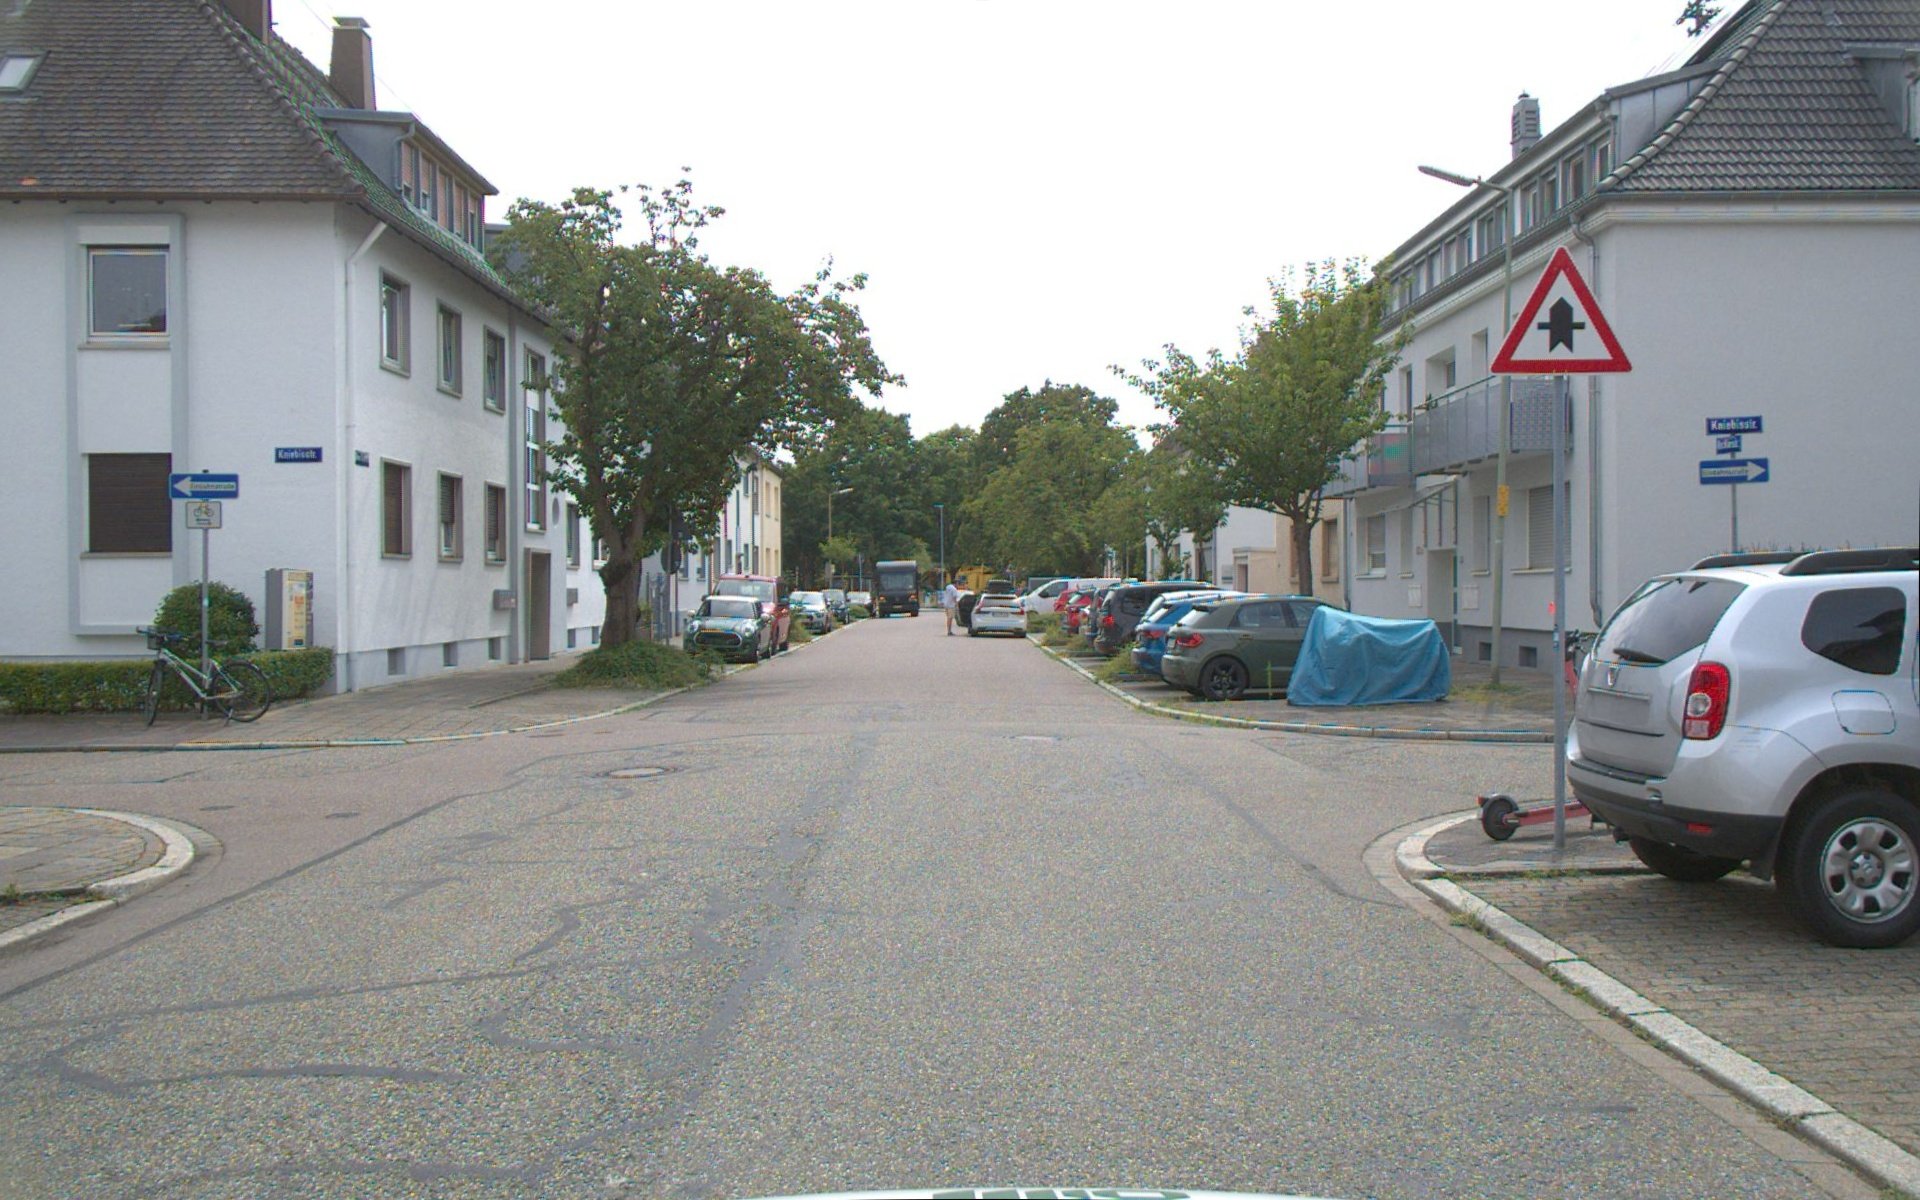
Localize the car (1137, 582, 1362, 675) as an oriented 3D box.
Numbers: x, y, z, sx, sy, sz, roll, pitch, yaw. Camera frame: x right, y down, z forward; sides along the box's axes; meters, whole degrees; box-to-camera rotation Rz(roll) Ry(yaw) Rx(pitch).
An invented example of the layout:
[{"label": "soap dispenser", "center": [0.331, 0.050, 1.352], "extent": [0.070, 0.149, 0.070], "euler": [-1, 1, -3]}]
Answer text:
[{"label": "car", "center": [5.429, 0.518, 31.325], "extent": [3.906, 1.545, 1.722], "euler": [-3, 0, -1]}]

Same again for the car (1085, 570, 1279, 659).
[{"label": "car", "center": [4.462, 0.274, 33.610], "extent": [3.671, 1.591, 1.773], "euler": [-3, 0, 0]}]

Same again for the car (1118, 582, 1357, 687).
[{"label": "car", "center": [4.306, 0.518, 25.994], "extent": [3.446, 1.437, 1.558], "euler": [-3, 0, 0]}]

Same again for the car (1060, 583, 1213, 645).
[{"label": "car", "center": [4.728, 0.372, 44.656], "extent": [3.906, 1.464, 1.722], "euler": [-3, 0, -1]}]

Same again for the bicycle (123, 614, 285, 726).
[{"label": "bicycle", "center": [-8.765, 0.805, 19.204], "extent": [1.601, 1.199, 0.435], "euler": [-3, 0, -5]}]

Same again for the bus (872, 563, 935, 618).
[{"label": "bus", "center": [-3.086, -0.539, 93.156], "extent": [2.942, 2.809, 8.925], "euler": [-3, 0, 1]}]

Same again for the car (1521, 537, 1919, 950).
[{"label": "car", "center": [4.920, 0.522, 7.813], "extent": [3.844, 1.661, 1.867], "euler": [-3, 0, -1]}]

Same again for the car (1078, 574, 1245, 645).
[{"label": "car", "center": [5.002, 0.230, 41.443], "extent": [3.906, 1.545, 1.722], "euler": [-3, 0, -1]}]

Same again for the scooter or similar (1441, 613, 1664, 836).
[{"label": "scooter or similar", "center": [3.647, 0.742, 10.189], "extent": [1.217, 1.265, 0.421], "euler": [-3, 0, -13]}]

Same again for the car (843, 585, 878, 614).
[{"label": "car", "center": [-5.644, -0.030, 94.119], "extent": [1.588, 1.528, 4.000], "euler": [-3, 0, 1]}]

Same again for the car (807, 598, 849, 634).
[{"label": "car", "center": [-5.257, 0.612, 66.269], "extent": [1.508, 1.324, 3.720], "euler": [-3, 0, -3]}]

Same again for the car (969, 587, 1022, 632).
[{"label": "car", "center": [1.166, 0.294, 55.378], "extent": [1.652, 1.377, 3.827], "euler": [-3, 0, 1]}]

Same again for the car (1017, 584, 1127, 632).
[{"label": "car", "center": [4.113, 0.290, 61.370], "extent": [3.906, 1.545, 1.722], "euler": [-3, 0, -1]}]

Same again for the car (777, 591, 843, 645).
[{"label": "car", "center": [-4.443, 0.509, 49.453], "extent": [1.618, 1.487, 3.551], "euler": [-3, 0, -1]}]

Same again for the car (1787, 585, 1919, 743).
[{"label": "car", "center": [10.456, 0.573, 16.358], "extent": [3.724, 1.468, 1.663], "euler": [-1, 0, 0]}]

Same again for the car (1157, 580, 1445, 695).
[{"label": "car", "center": [4.744, 0.505, 23.371], "extent": [3.671, 1.389, 1.773], "euler": [-3, 0, 0]}]

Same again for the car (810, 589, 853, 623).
[{"label": "car", "center": [-5.793, 0.256, 74.829], "extent": [1.618, 1.401, 3.721], "euler": [-3, 0, -1]}]

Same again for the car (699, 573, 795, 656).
[{"label": "car", "center": [-5.528, 0.352, 43.393], "extent": [1.953, 2.049, 4.520], "euler": [-1, 0, -1]}]

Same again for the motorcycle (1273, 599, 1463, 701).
[{"label": "motorcycle", "center": [5.135, 0.620, 20.906], "extent": [2.149, 1.232, 0.939], "euler": [-1, 0, -2]}]

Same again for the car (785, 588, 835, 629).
[{"label": "car", "center": [-5.528, 0.306, 61.205], "extent": [1.618, 1.401, 3.720], "euler": [-3, 0, -3]}]

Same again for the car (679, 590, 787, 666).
[{"label": "car", "center": [-5.178, 0.602, 38.135], "extent": [1.726, 1.581, 3.732], "euler": [-3, 0, 3]}]

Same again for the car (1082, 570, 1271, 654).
[{"label": "car", "center": [4.766, 0.249, 36.807], "extent": [3.905, 1.646, 1.867], "euler": [-3, 0, 0]}]

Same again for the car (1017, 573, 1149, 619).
[{"label": "car", "center": [4.702, -0.158, 63.704], "extent": [4.875, 1.545, 1.768], "euler": [-3, 0, -2]}]

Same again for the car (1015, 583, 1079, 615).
[{"label": "car", "center": [4.898, -0.053, 93.384], "extent": [3.457, 1.630, 1.773], "euler": [-3, 0, 0]}]

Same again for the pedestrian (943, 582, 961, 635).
[{"label": "pedestrian", "center": [-0.265, 0.276, 54.634], "extent": [0.511, 1.734, 0.445], "euler": [-2, 0, 3]}]
